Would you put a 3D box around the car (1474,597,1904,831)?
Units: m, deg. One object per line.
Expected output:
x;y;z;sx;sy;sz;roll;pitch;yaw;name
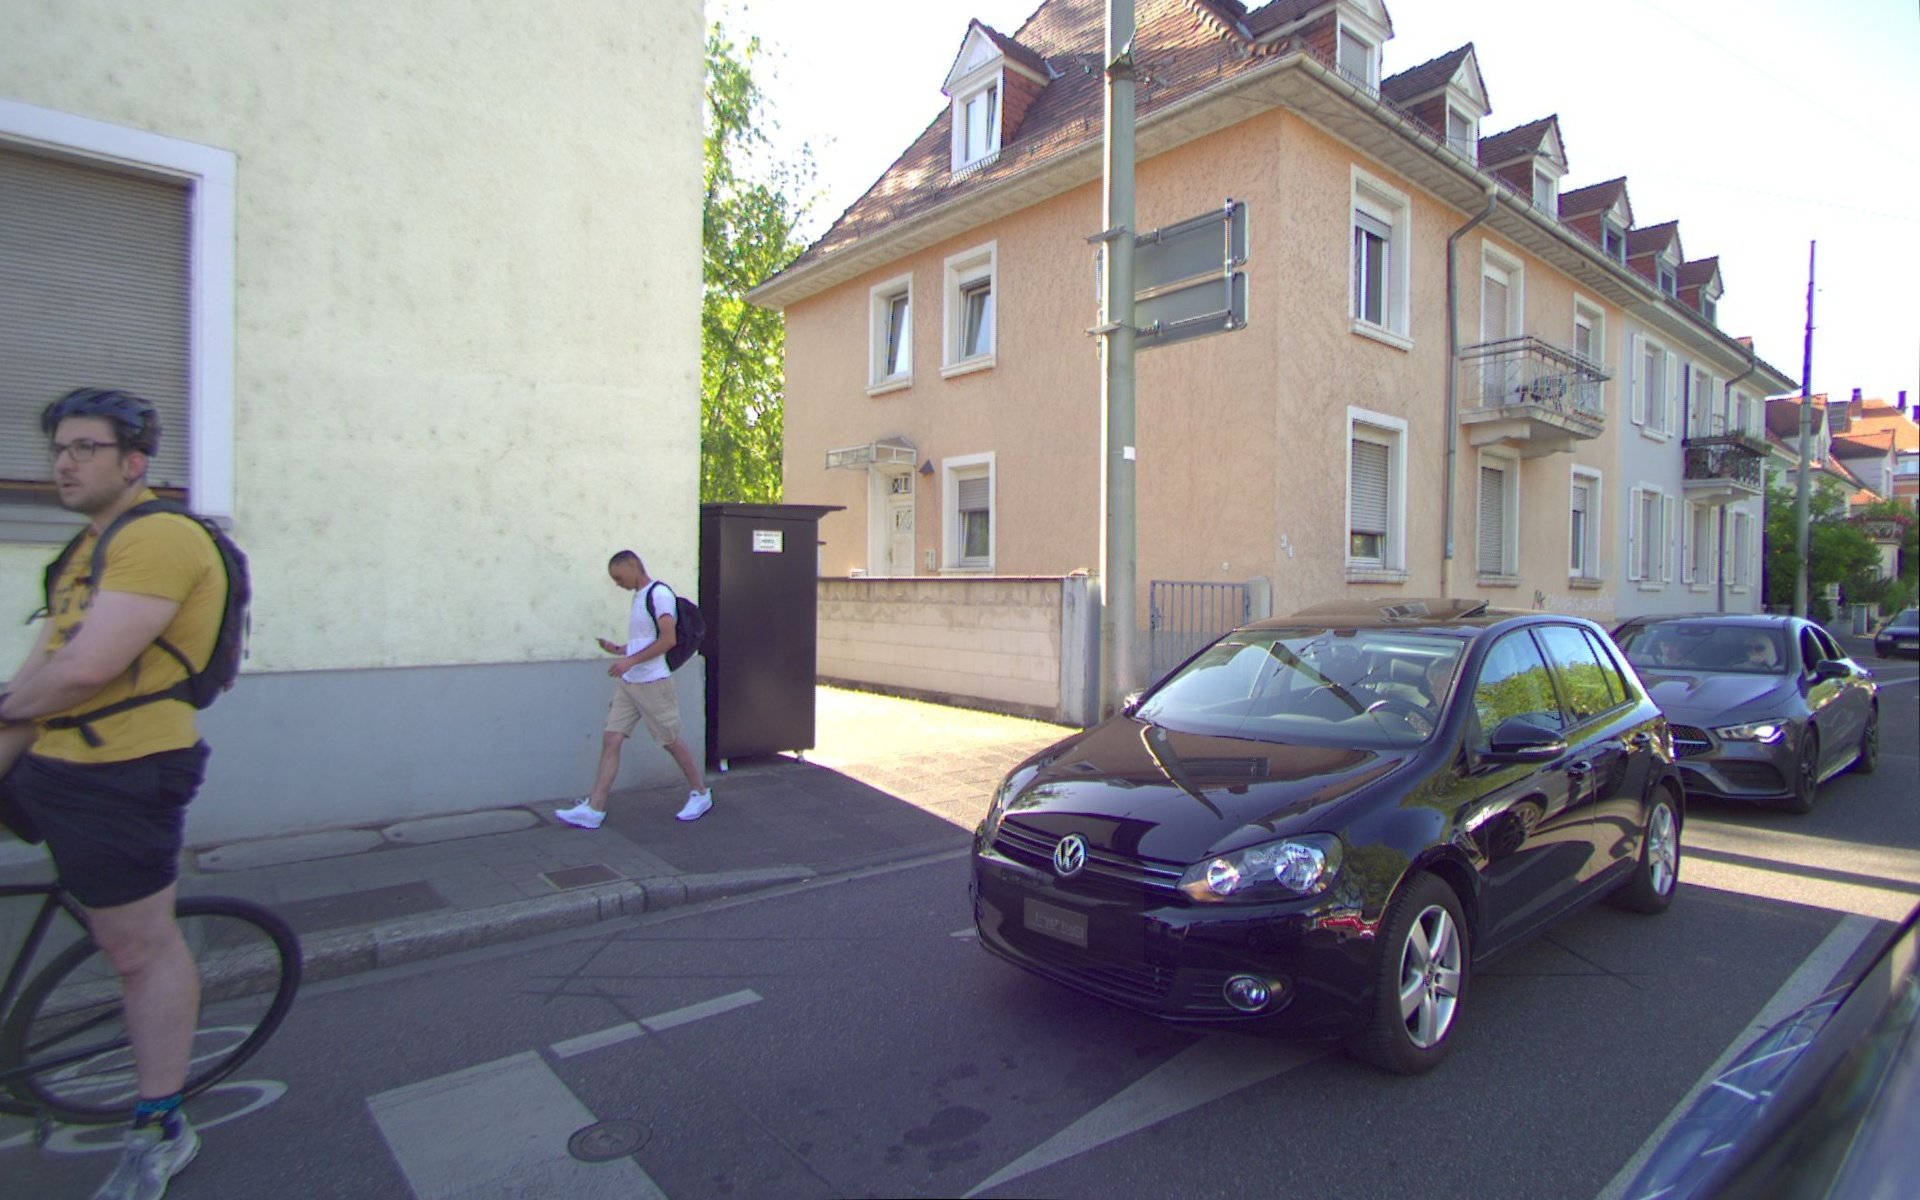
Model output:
6.287;0.709;8.527;4.413;1.437;1.911;-1;0;-40;car

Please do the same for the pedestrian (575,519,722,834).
-1.869;0.419;6.121;0.577;1.776;0.641;4;4;11;pedestrian

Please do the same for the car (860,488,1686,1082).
1.686;0.519;4.580;3.979;1.527;1.731;2;-1;-41;car

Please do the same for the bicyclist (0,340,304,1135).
-2.210;0.288;2.528;0.868;1.684;0.807;0;0;-40;bicyclist

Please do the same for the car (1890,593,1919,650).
26.725;0.553;27.416;3.930;1.476;1.839;-1;0;-41;car

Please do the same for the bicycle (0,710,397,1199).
-2.381;0.885;2.379;1.749;1.044;0.756;-1;0;-40;bicycle
